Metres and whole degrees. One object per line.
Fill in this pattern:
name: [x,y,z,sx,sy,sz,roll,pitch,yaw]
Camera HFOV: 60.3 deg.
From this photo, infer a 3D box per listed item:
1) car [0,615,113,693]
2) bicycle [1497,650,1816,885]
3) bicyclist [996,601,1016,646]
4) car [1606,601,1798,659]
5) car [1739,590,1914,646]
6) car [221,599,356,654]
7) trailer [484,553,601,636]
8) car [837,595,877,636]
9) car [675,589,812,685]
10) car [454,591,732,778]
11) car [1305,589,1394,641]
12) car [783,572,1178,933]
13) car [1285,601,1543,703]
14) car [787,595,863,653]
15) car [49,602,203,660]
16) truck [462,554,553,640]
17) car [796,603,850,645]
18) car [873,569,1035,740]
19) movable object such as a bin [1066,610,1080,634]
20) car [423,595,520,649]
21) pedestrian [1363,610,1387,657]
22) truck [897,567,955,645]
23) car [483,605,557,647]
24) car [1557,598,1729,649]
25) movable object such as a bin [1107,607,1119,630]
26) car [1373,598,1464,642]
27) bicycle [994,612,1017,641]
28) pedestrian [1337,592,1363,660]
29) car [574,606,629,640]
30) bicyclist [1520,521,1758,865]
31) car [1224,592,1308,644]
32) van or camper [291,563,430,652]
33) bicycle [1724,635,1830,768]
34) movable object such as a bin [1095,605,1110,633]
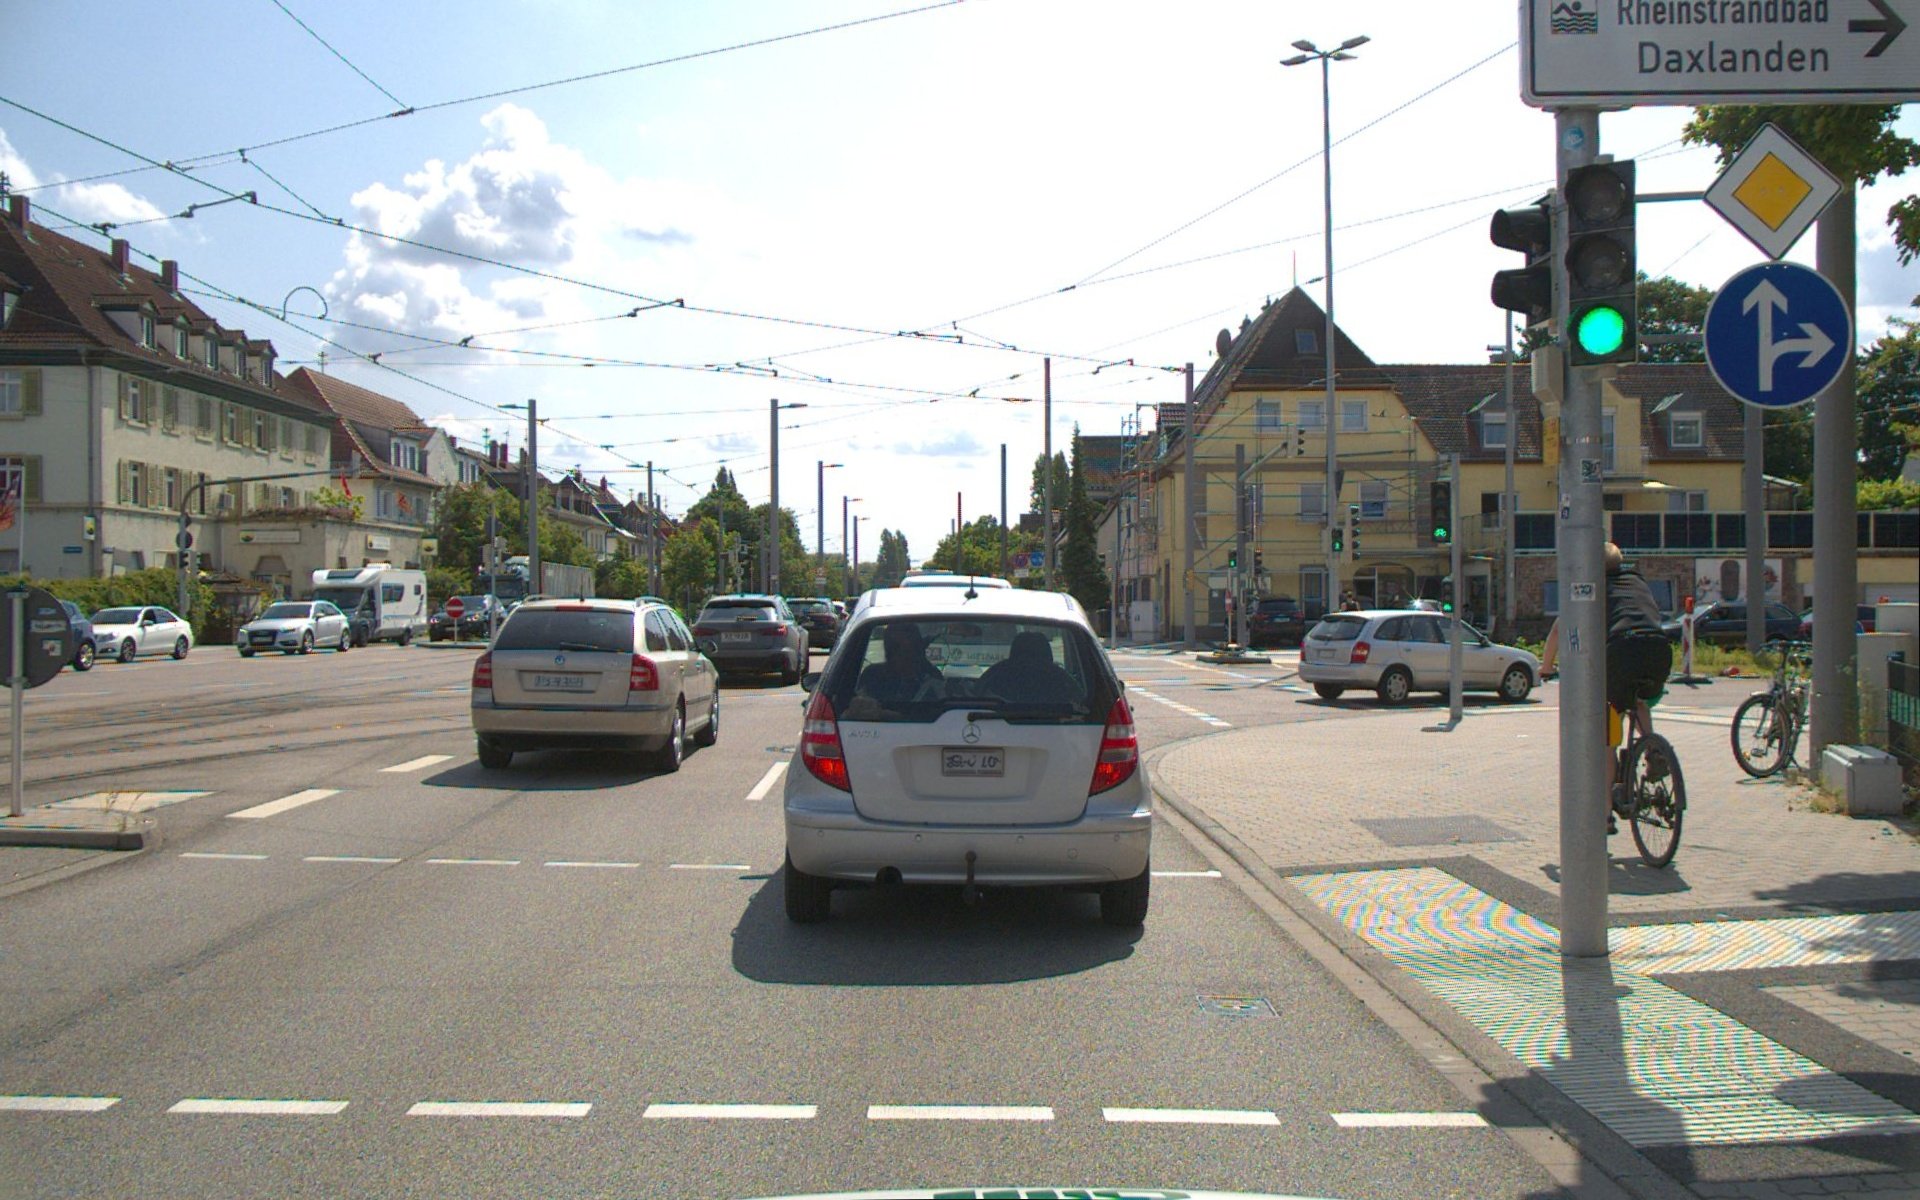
car: [-18.084,0.984,31.633,1.650,1.375,4.176,1,-1,-1]
bicycle: [3.863,0.877,9.387,0.812,1.094,1.969,-2,0,-5]
bicyclist: [1.849,0.934,66.424,0.638,1.768,0.982,1,-1,-8]
car: [19.242,0.773,43.002,4.231,1.352,1.738,-1,-1,-5]
car: [24.990,0.524,47.767,4.230,1.500,1.738,1,-1,-5]
car: [-18.021,0.696,44.608,1.953,1.375,4.176,1,-1,-1]
trailer: [-21.687,-0.340,86.872,2.546,3.887,12.838,-3,1,1]
car: [-4.820,0.744,78.034,1.815,1.875,3.916,1,-1,-3]
car: [-3.675,0.608,28.821,1.878,1.503,4.560,1,0,-2]
car: [-3.227,0.705,15.349,1.696,1.474,4.122,1,-1,-1]
car: [13.067,0.510,55.677,1.953,1.624,4.130,1,-1,-1]
car: [-0.021,0.690,9.198,1.695,1.543,4.013,1,-1,-4]
car: [7.230,0.822,26.267,3.965,1.428,1.717,2,2,-33]
car: [-3.505,0.615,43.542,1.815,1.413,4.511,1,-1,-3]
car: [-21.421,0.787,42.696,1.649,1.375,4.345,1,-1,1]
truck: [-21.785,-0.163,79.906,2.545,3.887,5.668,-3,0,1]
car: [-4.894,0.857,59.488,1.815,1.413,3.916,1,-1,-3]
car: [-0.156,0.604,19.677,1.695,1.793,4.014,1,-1,-3]
movable object such as a bin: [4.473,0.877,65.573,0.501,0.934,0.741,0,-1,-1]
car: [-17.619,0.768,59.908,1.952,1.807,4.879,-2,0,1]
pedestrian: [10.281,0.832,40.986,0.478,1.156,0.388,1,-1,-1]
truck: [-1.258,0.244,58.850,1.815,2.597,5.851,1,-1,-3]
car: [-18.438,1.076,69.489,1.953,1.579,4.176,-4,-1,-1]
car: [19.476,0.665,47.233,4.230,1.331,1.738,1,-1,-5]
movable object such as a bin: [6.621,0.805,71.507,0.458,0.963,0.557,-1,-1,-2]
car: [15.280,0.668,55.305,1.830,1.375,4.130,1,-1,-1]
bicycle: [1.828,1.068,66.320,0.638,1.137,1.585,1,-1,-8]
pedestrian: [9.680,0.641,41.042,0.535,1.672,0.401,1,-1,3]
car: [-18.374,1.182,84.911,1.757,1.665,4.471,-1,-1,1]
bicyclist: [3.841,0.496,9.449,0.812,1.825,1.083,-2,0,-5]
car: [10.118,0.598,55.035,1.953,1.624,4.130,1,-1,-1]
van or camper: [-21.368,0.249,59.403,2.277,2.981,7.753,0,0,-1]
bicycle: [6.850,0.821,13.833,0.454,1.036,1.748,0,-1,38]
movable object such as a bin: [5.657,0.756,65.712,0.501,1.124,0.855,0,-1,-1]
